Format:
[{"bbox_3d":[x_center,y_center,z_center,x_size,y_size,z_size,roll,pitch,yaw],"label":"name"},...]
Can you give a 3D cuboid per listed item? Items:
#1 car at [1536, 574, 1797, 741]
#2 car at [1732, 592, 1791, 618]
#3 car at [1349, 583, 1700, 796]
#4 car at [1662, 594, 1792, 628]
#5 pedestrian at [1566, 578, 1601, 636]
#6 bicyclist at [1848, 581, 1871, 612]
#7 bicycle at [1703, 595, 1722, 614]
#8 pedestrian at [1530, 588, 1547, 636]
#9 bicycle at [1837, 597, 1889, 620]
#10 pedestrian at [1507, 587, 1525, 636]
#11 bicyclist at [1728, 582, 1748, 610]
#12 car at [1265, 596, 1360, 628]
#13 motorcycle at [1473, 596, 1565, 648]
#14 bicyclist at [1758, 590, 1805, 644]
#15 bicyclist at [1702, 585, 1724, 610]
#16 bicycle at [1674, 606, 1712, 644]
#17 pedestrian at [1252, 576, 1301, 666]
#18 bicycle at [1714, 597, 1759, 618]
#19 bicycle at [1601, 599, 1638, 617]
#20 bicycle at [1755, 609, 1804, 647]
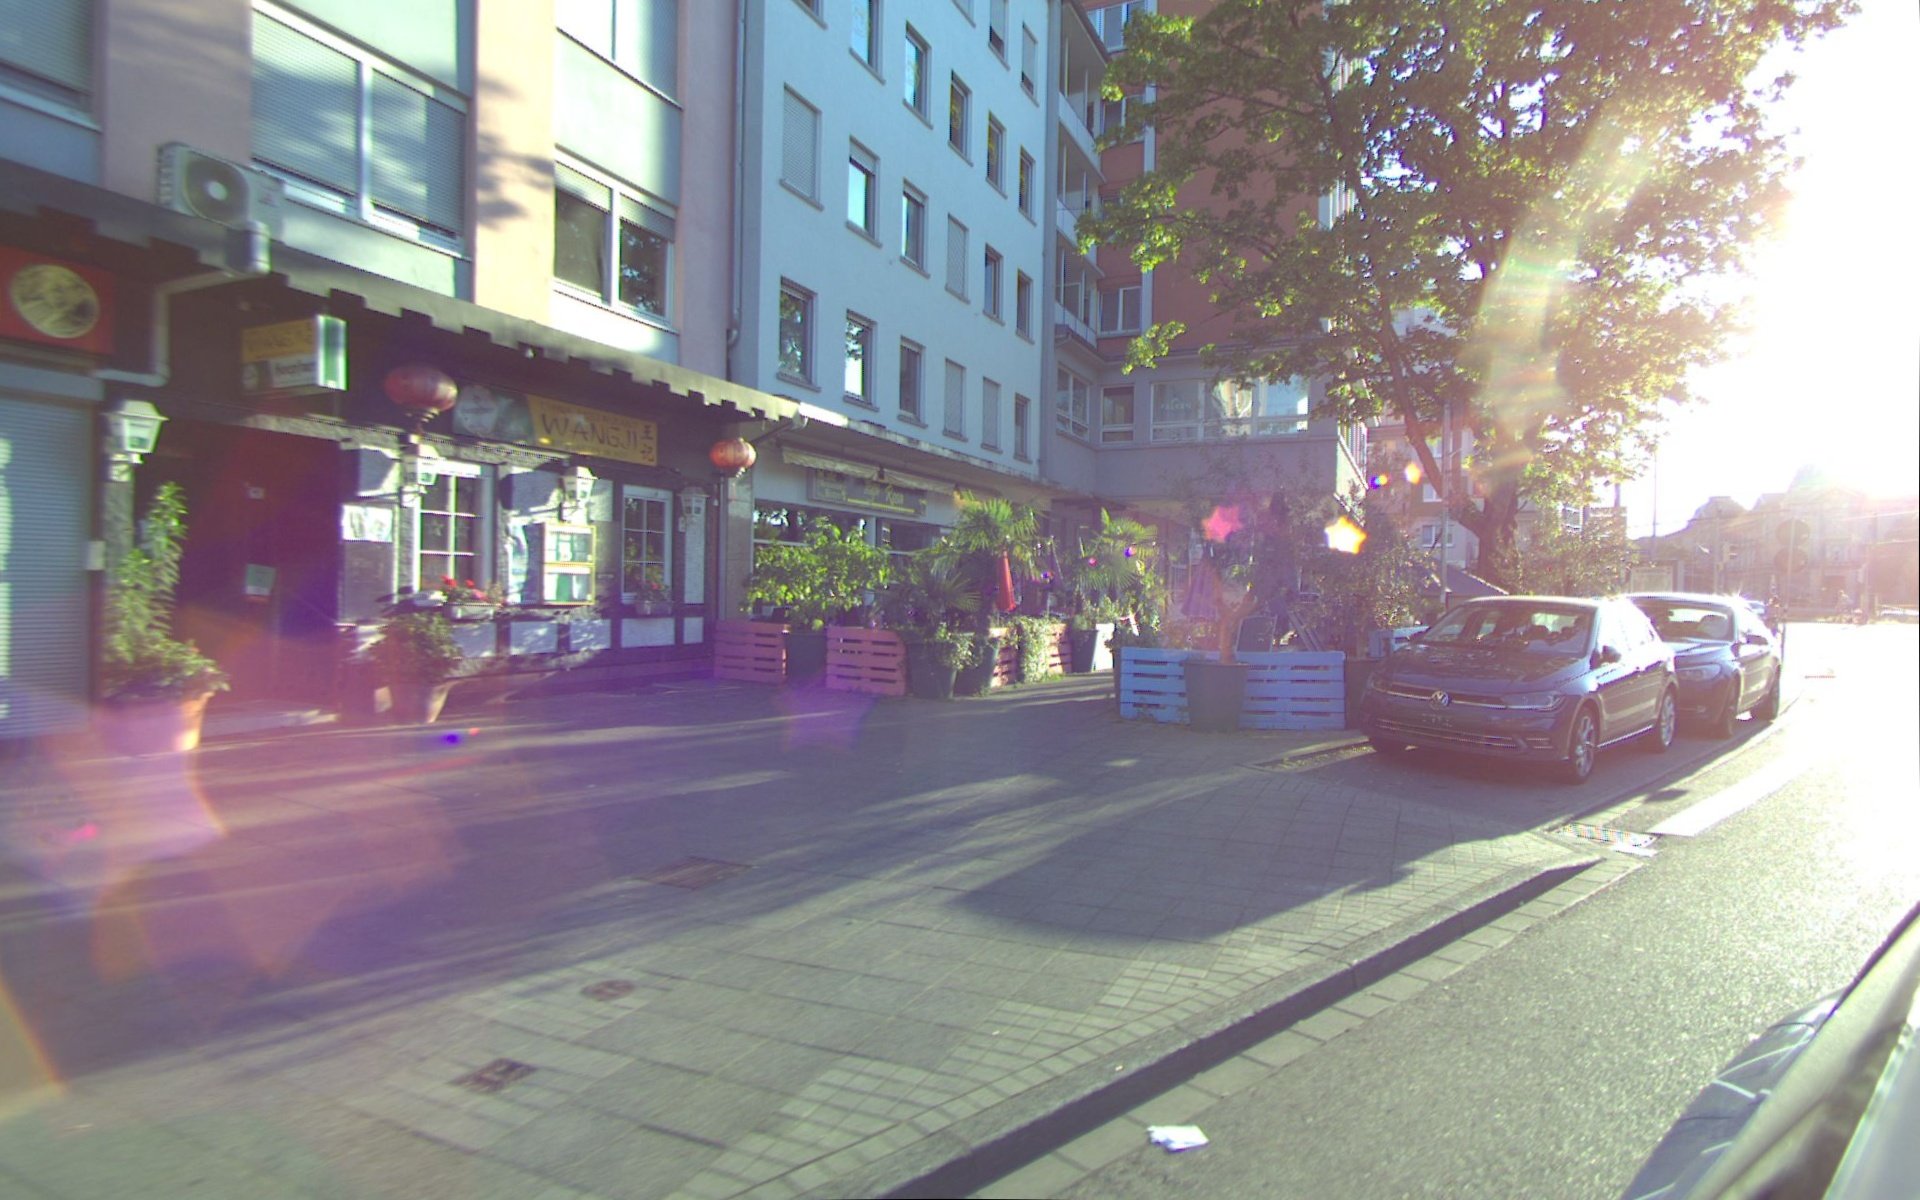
[{"bbox_3d":[8.906,0.601,12.581,4.733,1.691,1.806,1,-1,-44],"label":"car"},{"bbox_3d":[49.874,0.307,63.041,1.935,1.512,3.926,0,0,24],"label":"car"},{"bbox_3d":[5.347,0.661,9.369,3.996,1.554,1.652,0,0,-42],"label":"car"},{"bbox_3d":[38.025,0.517,50.366,5.008,1.454,1.856,2,2,34],"label":"car"},{"bbox_3d":[21.583,0.238,35.027,0.831,1.982,0.703,1,0,-31],"label":"pedestrian"},{"bbox_3d":[47.681,-0.179,53.648,0.728,1.588,0.814,0,-1,31],"label":"bicyclist"},{"bbox_3d":[48.521,0.282,65.291,0.570,1.215,2.186,0,0,26],"label":"bicycle"},{"bbox_3d":[20.391,0.418,35.682,0.514,1.665,0.700,0,0,30],"label":"pedestrian"},{"bbox_3d":[47.781,0.444,53.575,1.955,1.197,0.485,1,0,31],"label":"bicycle"},{"bbox_3d":[19.768,0.396,35.973,0.514,1.714,0.764,1,0,30],"label":"pedestrian"},{"bbox_3d":[43.774,-0.227,56.933,0.726,1.588,0.815,0,-1,26],"label":"bicyclist"},{"bbox_3d":[16.967,0.569,48.693,4.148,1.443,1.915,0,2,26],"label":"car"},{"bbox_3d":[15.128,0.578,27.439,2.126,1.371,0.637,0,-1,26],"label":"motorcycle"},{"bbox_3d":[23.426,0.474,28.869,0.788,1.499,0.802,0,-1,19],"label":"bicyclist"},{"bbox_3d":[48.520,-0.157,65.203,0.986,1.558,0.914,0,-1,27],"label":"bicyclist"},{"bbox_3d":[20.351,0.678,28.131,0.356,1.040,1.782,0,0,20],"label":"bicycle"},{"bbox_3d":[6.436,0.414,20.570,0.883,1.748,0.769,2,0,19],"label":"pedestrian"},{"bbox_3d":[43.679,0.422,56.950,1.953,1.197,0.485,0,-1,28],"label":"bicycle"},{"bbox_3d":[42.282,0.530,64.868,1.940,1.134,0.453,0,-1,30],"label":"bicycle"},{"bbox_3d":[23.527,0.781,29.087,0.509,1.040,1.783,0,0,19],"label":"bicycle"}]
